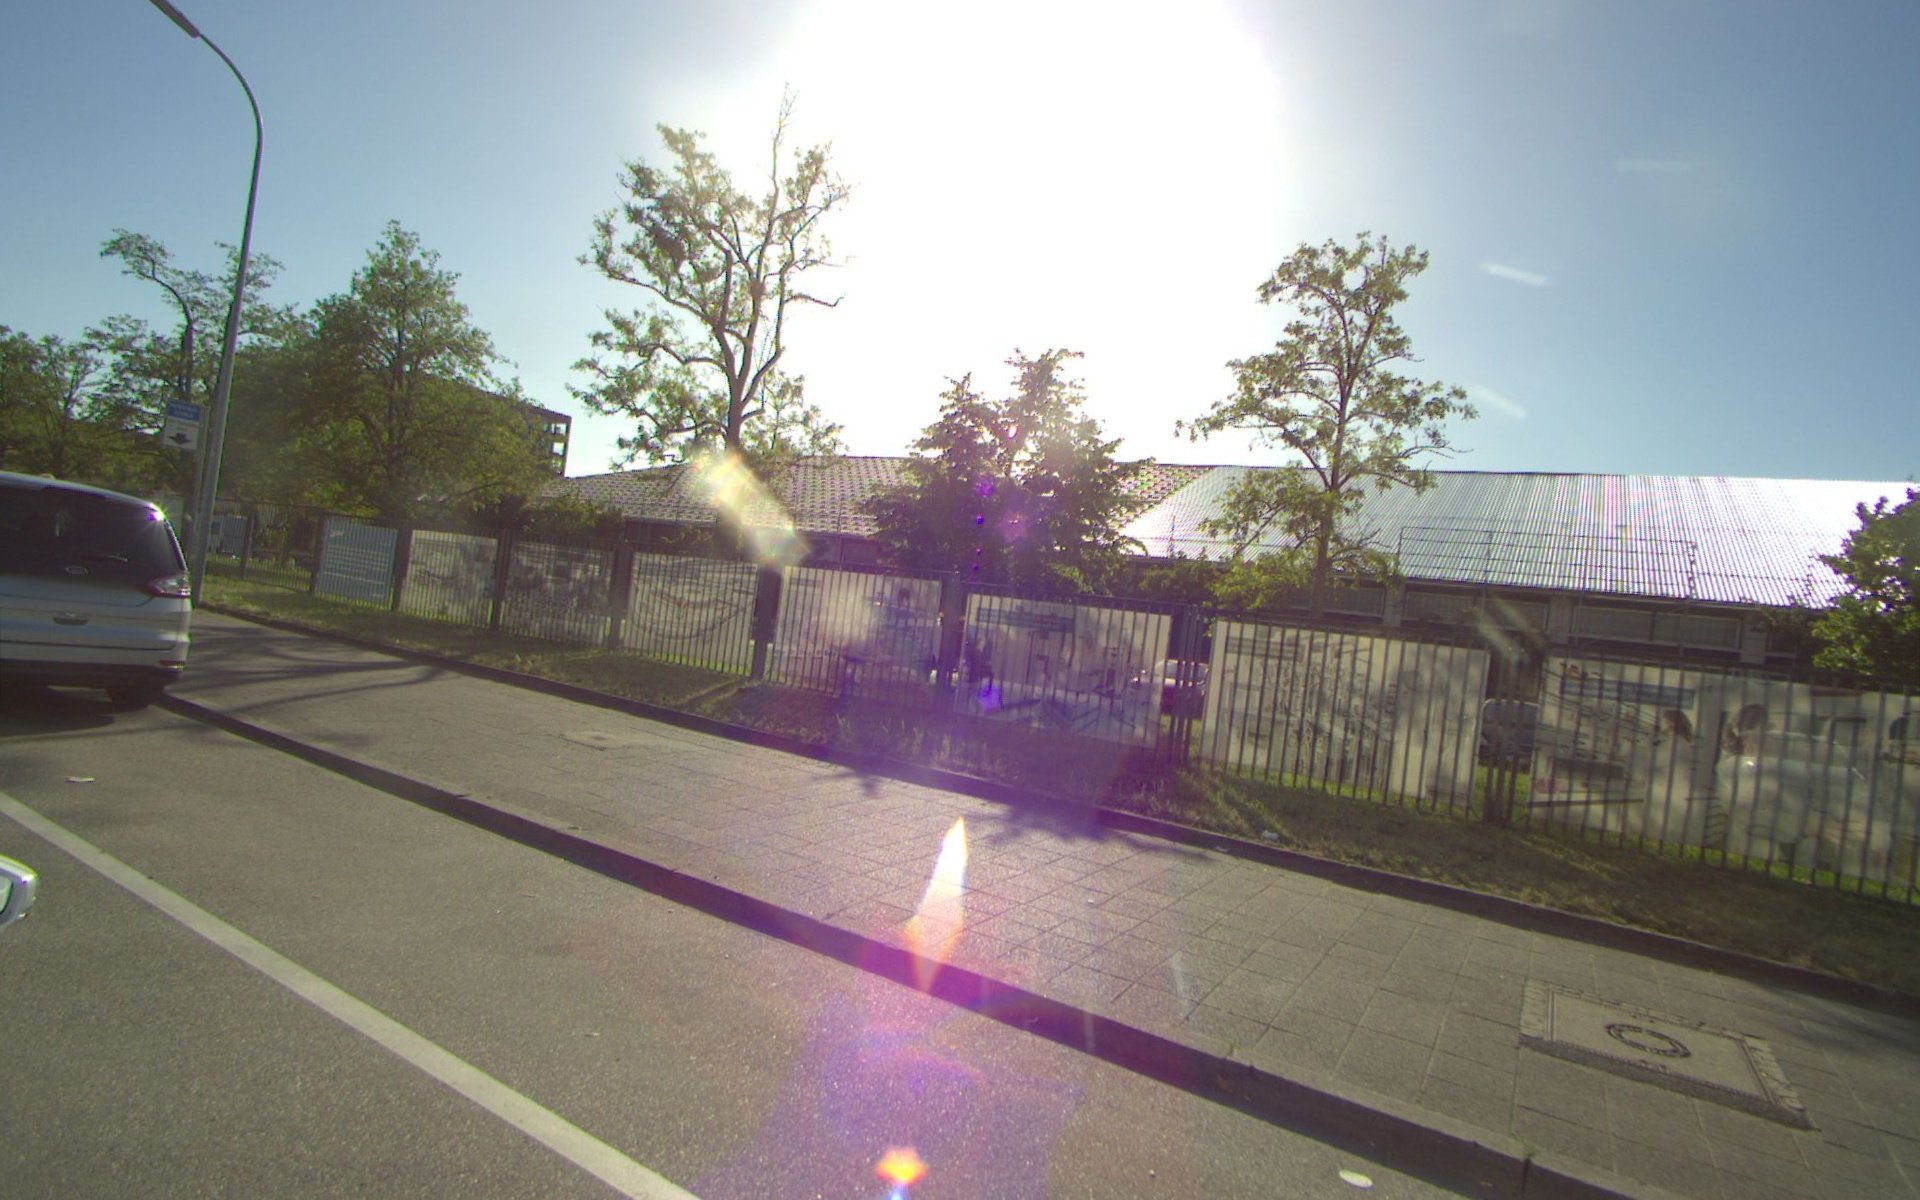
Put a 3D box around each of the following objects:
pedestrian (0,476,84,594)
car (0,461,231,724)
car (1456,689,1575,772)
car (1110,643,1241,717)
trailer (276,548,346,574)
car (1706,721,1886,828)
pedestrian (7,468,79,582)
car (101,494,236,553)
[{"bbox_3d":[-13.890,-0.969,15.165,0.531,1.629,0.683,7,-2,26],"label":"pedestrian"},{"bbox_3d":[-8.228,-0.244,8.233,4.625,1.741,1.814,7,-2,31],"label":"car"},{"bbox_3d":[11.425,2.690,20.799,1.847,1.265,4.156,7,-4,29],"label":"car"},{"bbox_3d":[5.126,1.929,23.496,1.797,1.265,4.156,7,-3,29],"label":"car"},{"bbox_3d":[-37.380,-2.252,57.888,5.036,0.930,1.897,6,-2,40],"label":"trailer"},{"bbox_3d":[15.119,3.087,18.422,1.646,1.396,3.898,7,-1,28],"label":"car"},{"bbox_3d":[-14.665,-1.197,16.097,0.513,1.727,0.523,7,-2,29],"label":"pedestrian"},{"bbox_3d":[-43.182,-4.127,55.016,1.970,2.228,5.286,8,-1,37],"label":"car"}]
